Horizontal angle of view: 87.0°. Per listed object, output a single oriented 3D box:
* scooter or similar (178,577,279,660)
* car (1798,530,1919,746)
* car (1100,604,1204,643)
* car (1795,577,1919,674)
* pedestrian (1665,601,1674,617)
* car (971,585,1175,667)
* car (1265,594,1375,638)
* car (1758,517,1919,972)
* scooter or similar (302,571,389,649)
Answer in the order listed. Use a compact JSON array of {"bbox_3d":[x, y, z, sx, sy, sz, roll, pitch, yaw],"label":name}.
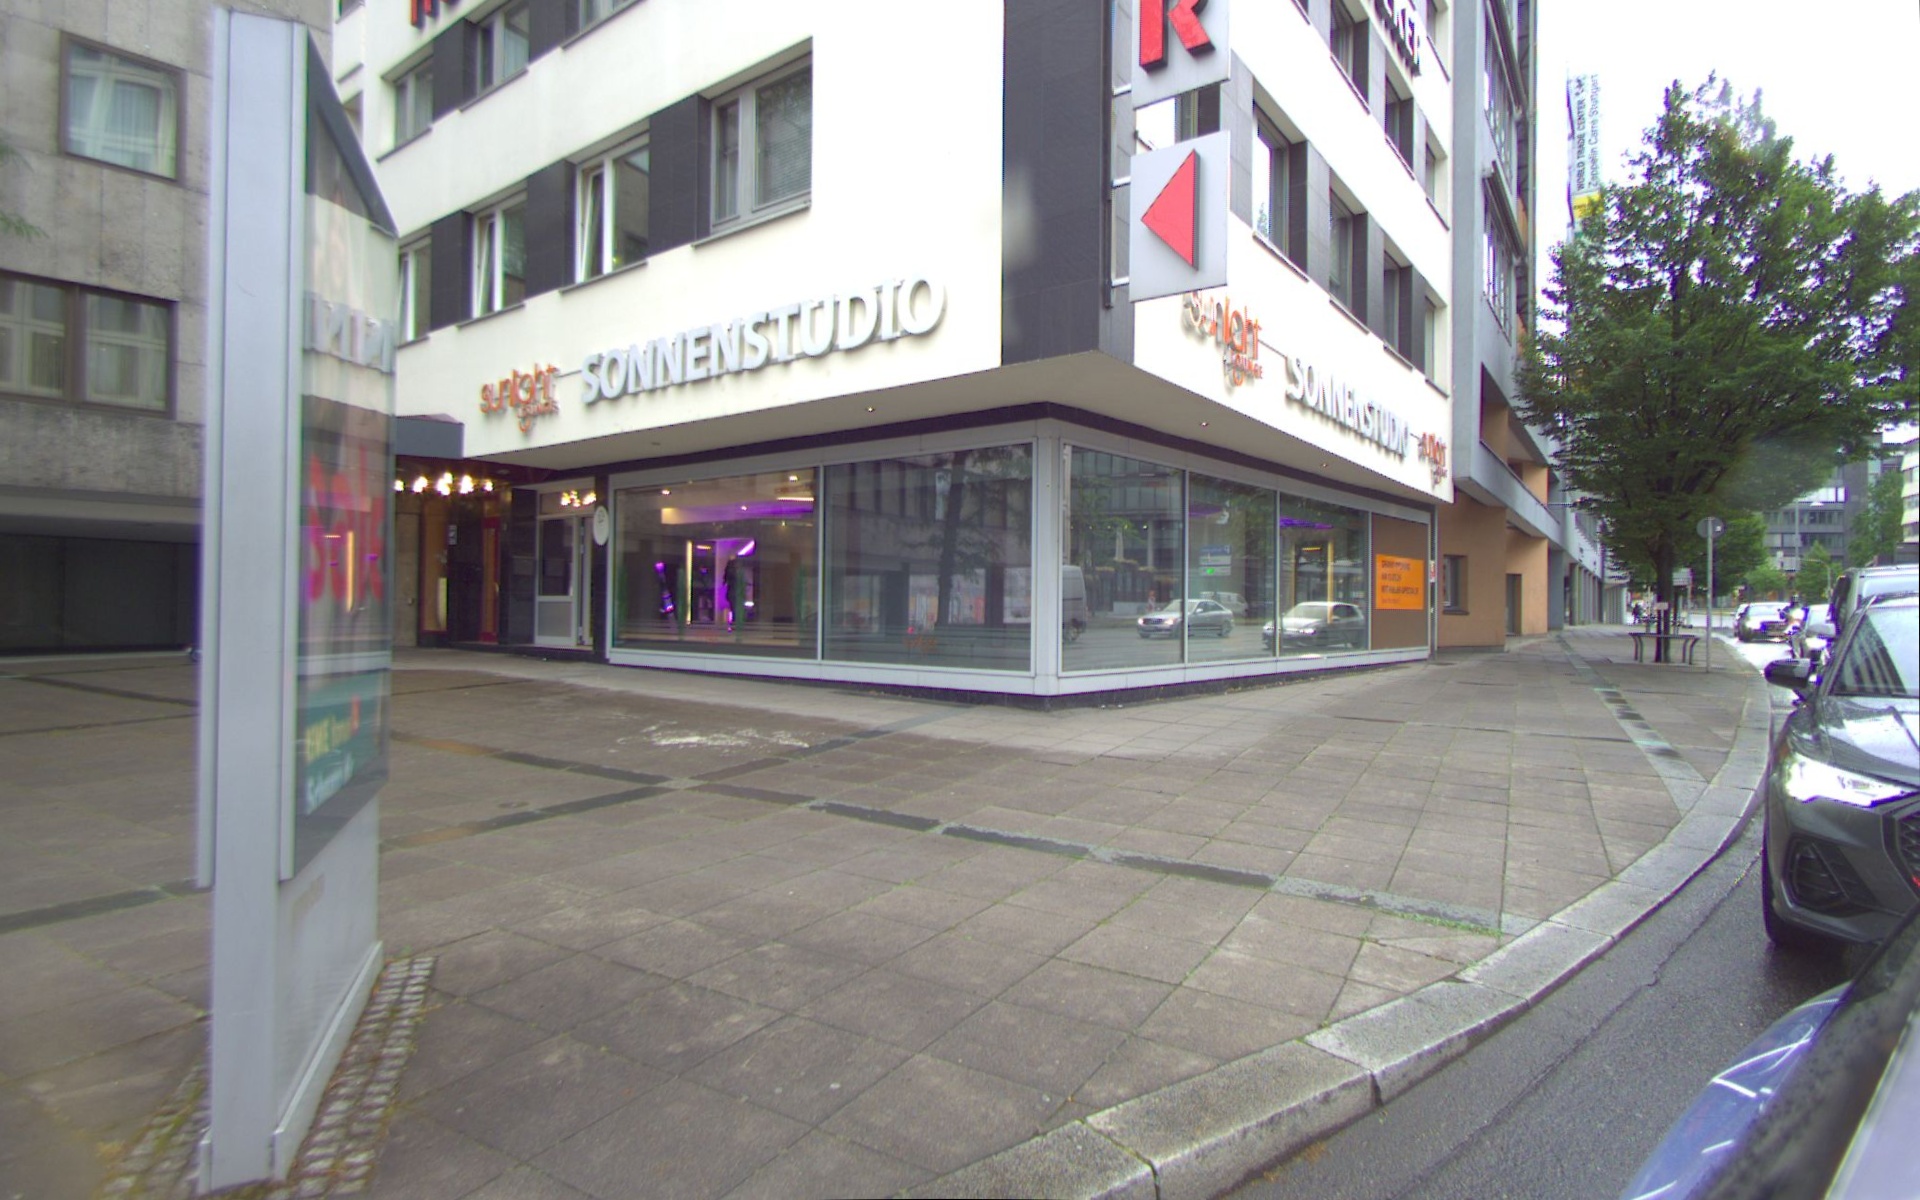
[{"bbox_3d":[-11.725,0.273,16.237,0.562,1.269,1.215,1,1,37],"label":"scooter or similar"},{"bbox_3d":[10.372,0.292,10.602,2.054,1.916,4.969,-2,0,44],"label":"car"},{"bbox_3d":[6.925,0.855,36.670,3.365,1.347,1.548,-2,0,34],"label":"car"},{"bbox_3d":[19.975,0.484,22.250,2.047,1.916,4.986,-2,0,35],"label":"car"},{"bbox_3d":[72.621,0.917,103.615,0.648,1.618,1.047,-2,-1,30],"label":"pedestrian"},{"bbox_3d":[2.641,0.514,22.761,1.993,1.629,4.849,-2,0,44],"label":"car"},{"bbox_3d":[11.180,0.475,31.302,1.716,1.209,3.937,-2,0,44],"label":"car"},{"bbox_3d":[5.154,0.457,4.708,1.797,1.572,4.318,-2,0,44],"label":"car"},{"bbox_3d":[-11.035,0.177,18.193,0.516,1.354,1.215,-2,-1,37],"label":"scooter or similar"}]
